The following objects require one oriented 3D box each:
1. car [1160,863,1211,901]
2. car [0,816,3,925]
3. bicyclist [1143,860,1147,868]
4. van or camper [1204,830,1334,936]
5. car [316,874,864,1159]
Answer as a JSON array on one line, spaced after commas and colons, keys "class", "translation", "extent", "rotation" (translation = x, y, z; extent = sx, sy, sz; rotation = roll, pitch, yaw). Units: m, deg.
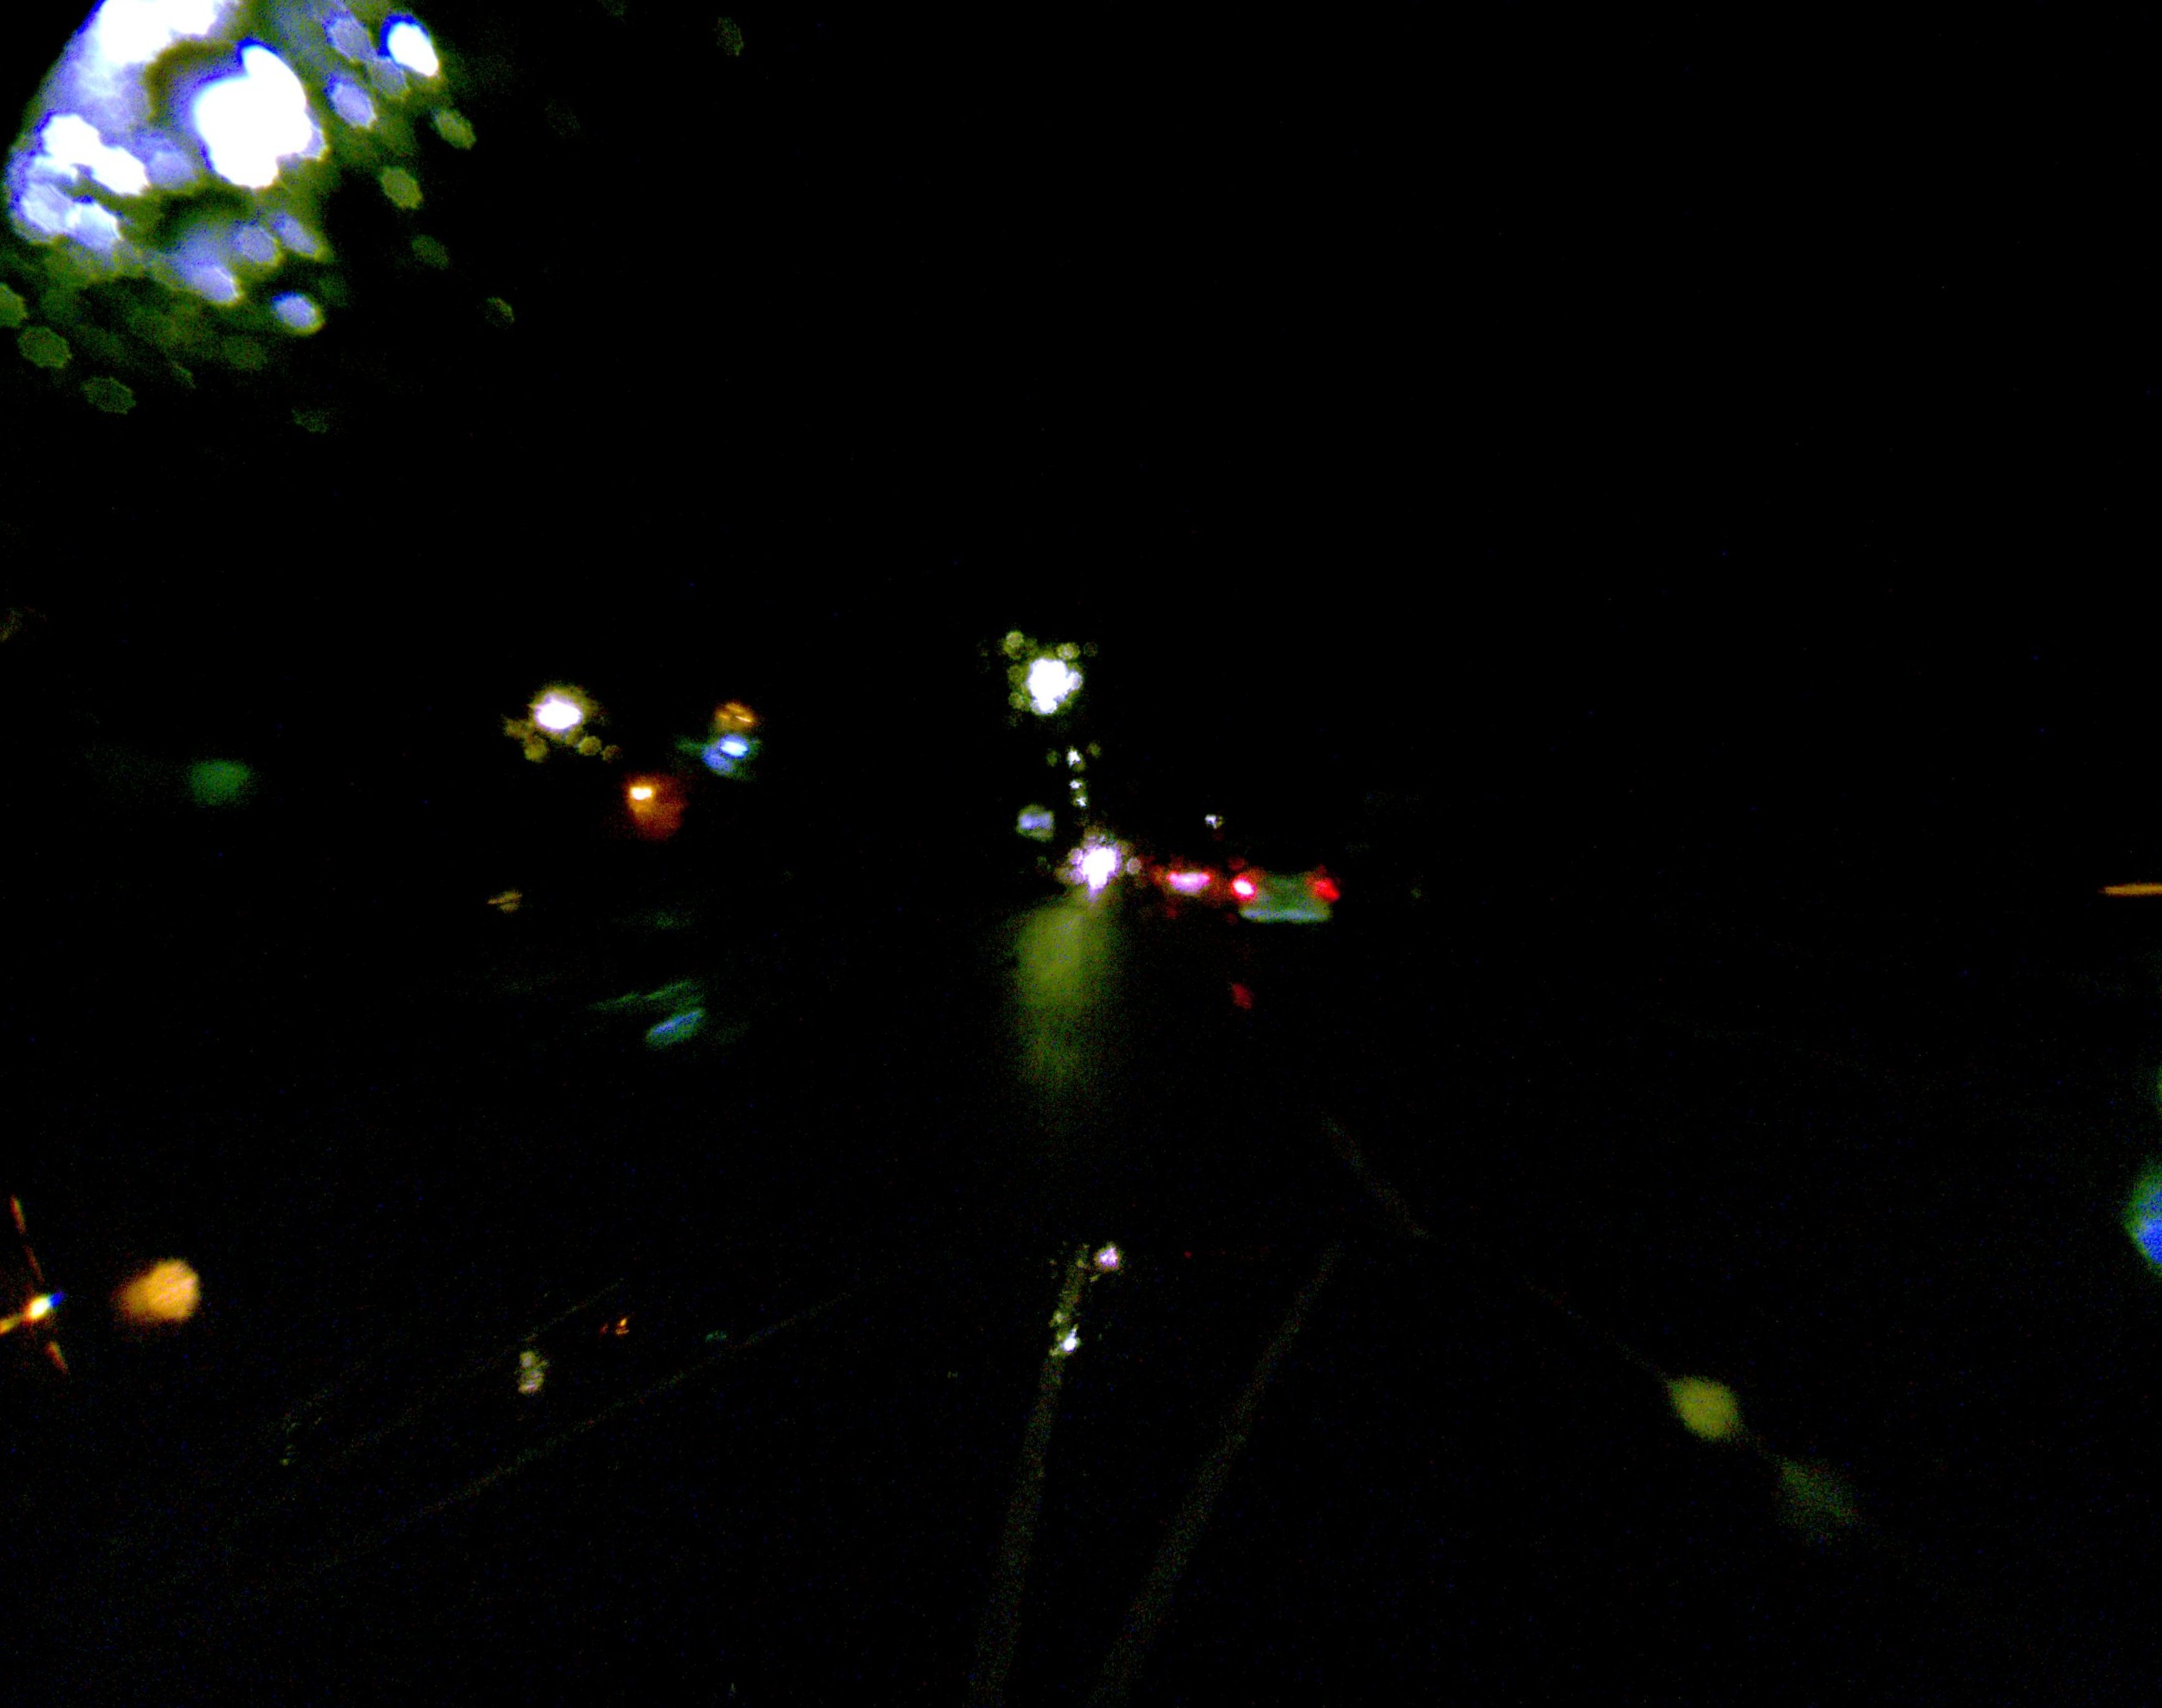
[{"class": "car", "translation": [4.432, 1.138, 32.573], "extent": [1.749, 1.425, 4.001], "rotation": [1, 0, 2]}, {"class": "car", "translation": [-12.575, 0.393, 6.026], "extent": [1.908, 1.685, 4.259], "rotation": [2, 0, 1]}, {"class": "bicyclist", "translation": [12.057, 1.898, 142.981], "extent": [0.638, 1.585, 0.961], "rotation": [-1, -2, 0]}, {"class": "van or camper", "translation": [4.171, 0.587, 17.713], "extent": [1.874, 2.091, 4.942], "rotation": [1, 0, 1]}, {"class": "car", "translation": [-3.457, 0.990, 6.705], "extent": [1.794, 1.440, 4.790], "rotation": [3, 0, -2]}]
